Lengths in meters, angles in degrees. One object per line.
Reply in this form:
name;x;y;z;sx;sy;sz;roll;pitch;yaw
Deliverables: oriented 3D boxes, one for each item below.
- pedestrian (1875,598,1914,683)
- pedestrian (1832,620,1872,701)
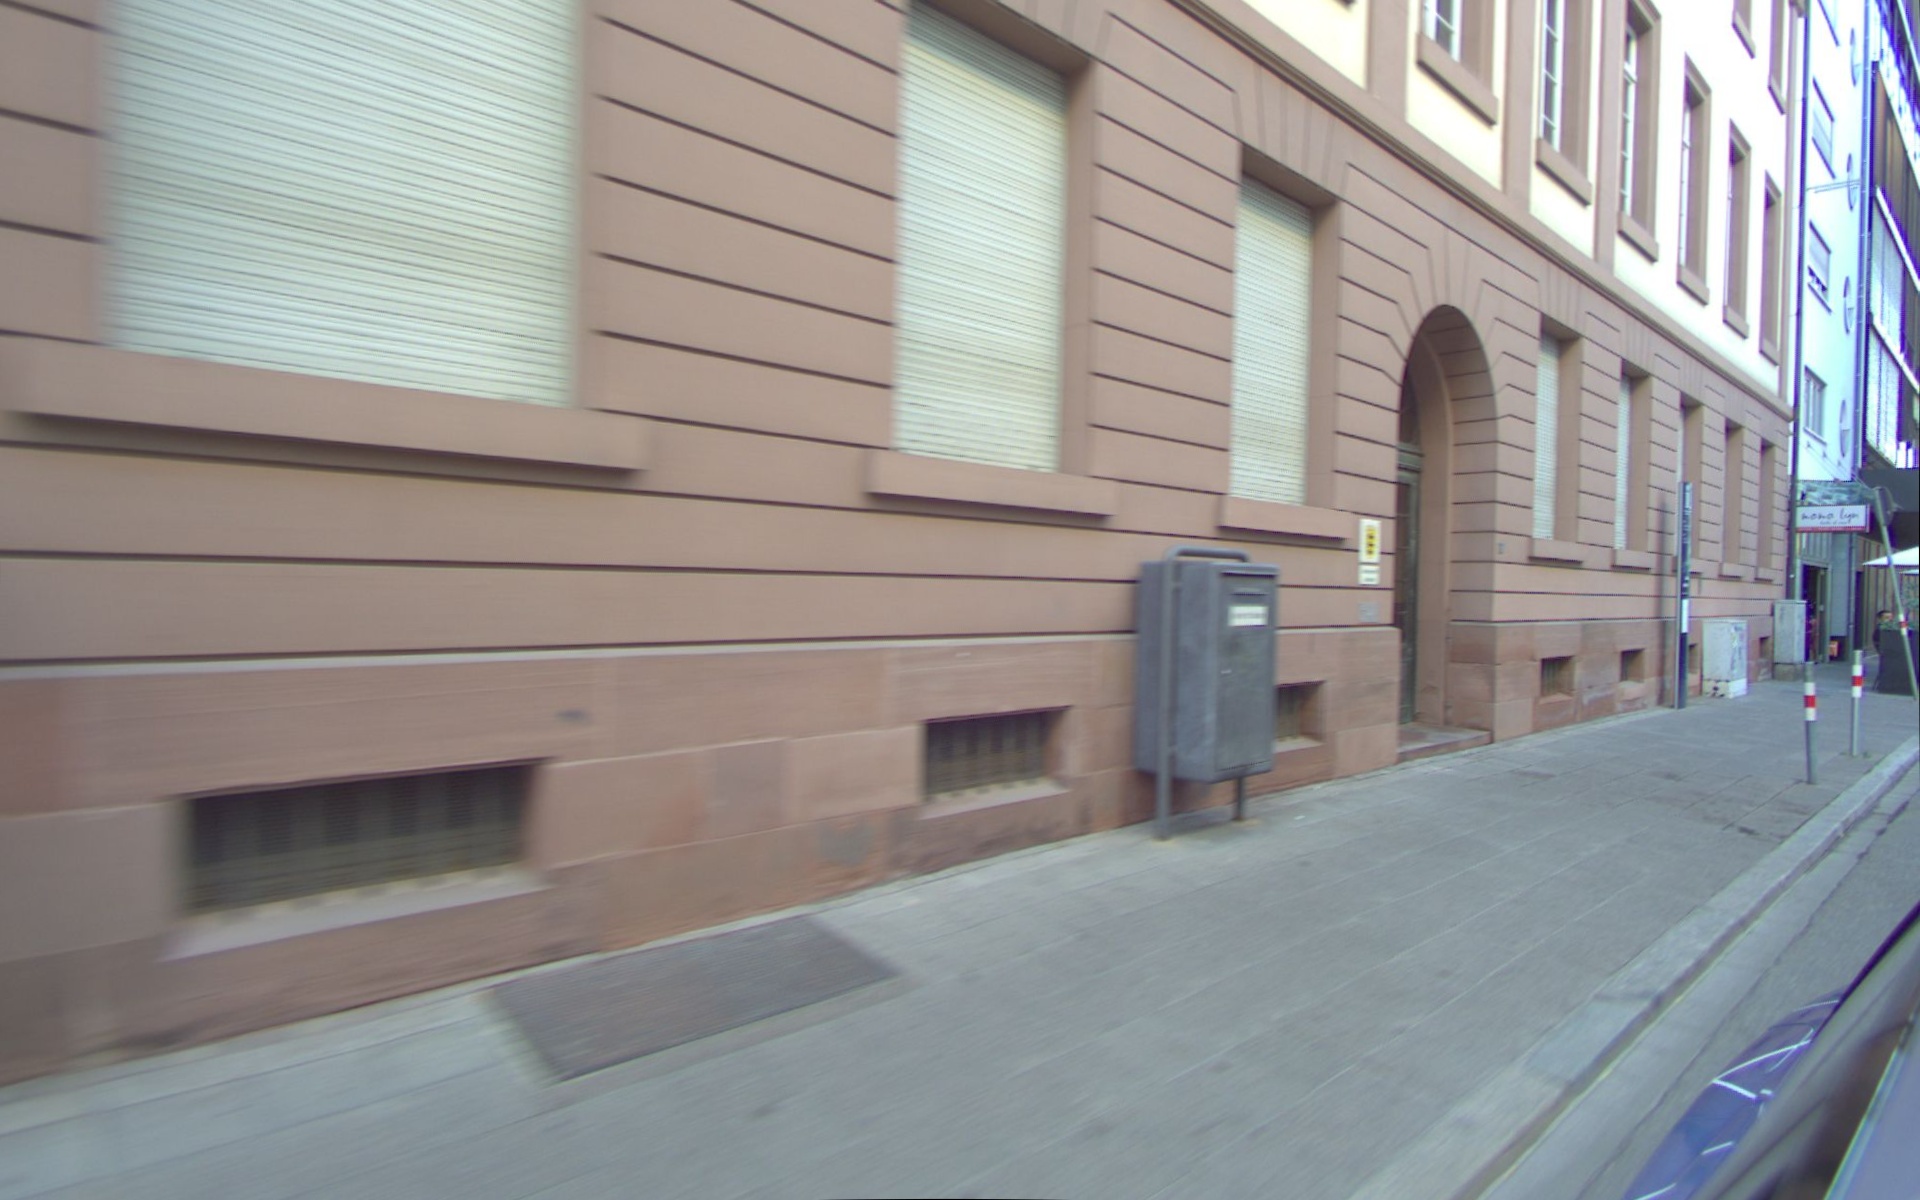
pedestrian;14.945;0.635;16.194;0.360;1.322;0.489;2;1;34
pedestrian;20.568;1.370;23.339;0.638;1.794;0.593;2;1;43
